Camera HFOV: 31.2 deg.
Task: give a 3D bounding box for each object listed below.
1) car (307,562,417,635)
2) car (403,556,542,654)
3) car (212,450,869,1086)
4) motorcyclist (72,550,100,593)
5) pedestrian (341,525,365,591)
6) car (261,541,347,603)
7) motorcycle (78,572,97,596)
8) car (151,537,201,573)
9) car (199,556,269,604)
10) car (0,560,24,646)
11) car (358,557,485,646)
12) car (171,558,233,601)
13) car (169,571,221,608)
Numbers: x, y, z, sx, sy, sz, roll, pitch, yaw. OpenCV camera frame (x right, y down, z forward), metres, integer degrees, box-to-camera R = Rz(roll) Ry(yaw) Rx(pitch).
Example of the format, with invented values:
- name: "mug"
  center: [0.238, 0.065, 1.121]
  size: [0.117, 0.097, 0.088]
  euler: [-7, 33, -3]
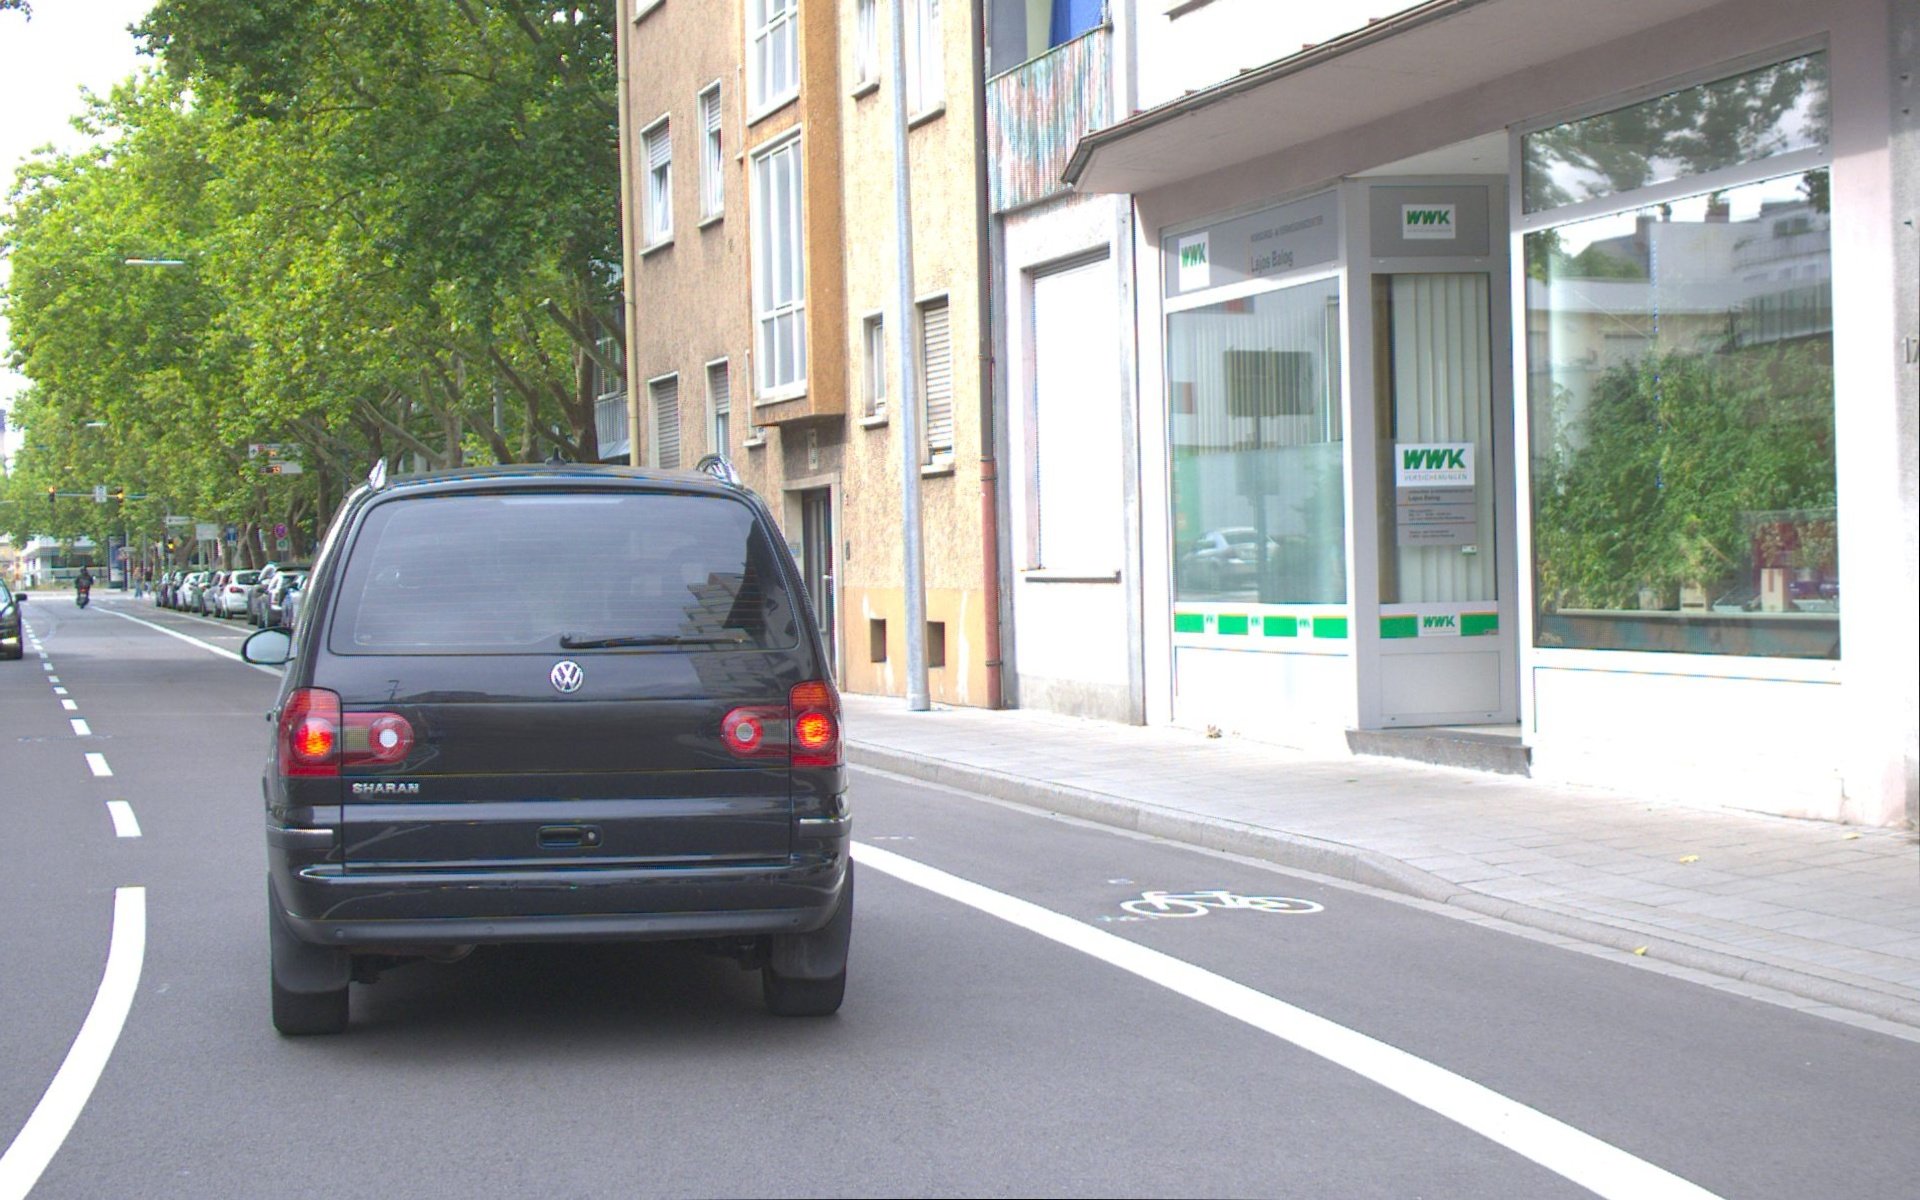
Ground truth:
- name: "car"
  center: [-12.138, -0.051, 69.594]
  size: [1.675, 1.389, 4.462]
  euler: [-1, 1, -16]
- name: "car"
  center: [-7.872, 0.052, 55.250]
  size: [1.657, 1.417, 3.868]
  euler: [-2, 2, -16]
- name: "car"
  center: [-1.357, 0.406, 11.465]
  size: [1.812, 1.760, 3.739]
  euler: [0, 2, -6]
- name: "motorcyclist"
  center: [-34.498, -1.138, 135.702]
  size: [0.952, 1.654, 1.256]
  euler: [-2, 1, -16]
- name: "pedestrian"
  center: [-18.454, -1.278, 104.487]
  size: [0.642, 1.968, 0.692]
  euler: [0, 2, -14]
- name: "car"
  center: [-16.169, -0.699, 84.646]
  size: [1.629, 1.465, 4.319]
  euler: [-1, 1, -16]
- name: "motorcycle"
  center: [-34.442, -0.639, 135.718]
  size: [0.625, 0.927, 2.404]
  euler: [-2, 1, -15]
- name: "car"
  center: [-31.315, -1.807, 137.329]
  size: [1.675, 1.389, 3.880]
  euler: [-1, 1, -16]
- name: "car"
  center: [-21.721, -0.615, 102.785]
  size: [1.675, 1.389, 4.462]
  euler: [-1, 1, -16]
- name: "car"
  center: [-16.955, 0.049, 58.719]
  size: [1.810, 1.403, 4.610]
  euler: [-2, 1, -16]
- name: "car"
  center: [-9.326, -0.006, 59.360]
  size: [1.657, 1.417, 3.948]
  euler: [-2, 2, -16]
- name: "car"
  center: [-25.879, -0.723, 117.333]
  size: [1.641, 1.408, 3.417]
  euler: [-1, 1, -19]
- name: "car"
  center: [-29.403, -0.417, 132.057]
  size: [1.675, 1.389, 3.880]
  euler: [-1, 1, -16]
